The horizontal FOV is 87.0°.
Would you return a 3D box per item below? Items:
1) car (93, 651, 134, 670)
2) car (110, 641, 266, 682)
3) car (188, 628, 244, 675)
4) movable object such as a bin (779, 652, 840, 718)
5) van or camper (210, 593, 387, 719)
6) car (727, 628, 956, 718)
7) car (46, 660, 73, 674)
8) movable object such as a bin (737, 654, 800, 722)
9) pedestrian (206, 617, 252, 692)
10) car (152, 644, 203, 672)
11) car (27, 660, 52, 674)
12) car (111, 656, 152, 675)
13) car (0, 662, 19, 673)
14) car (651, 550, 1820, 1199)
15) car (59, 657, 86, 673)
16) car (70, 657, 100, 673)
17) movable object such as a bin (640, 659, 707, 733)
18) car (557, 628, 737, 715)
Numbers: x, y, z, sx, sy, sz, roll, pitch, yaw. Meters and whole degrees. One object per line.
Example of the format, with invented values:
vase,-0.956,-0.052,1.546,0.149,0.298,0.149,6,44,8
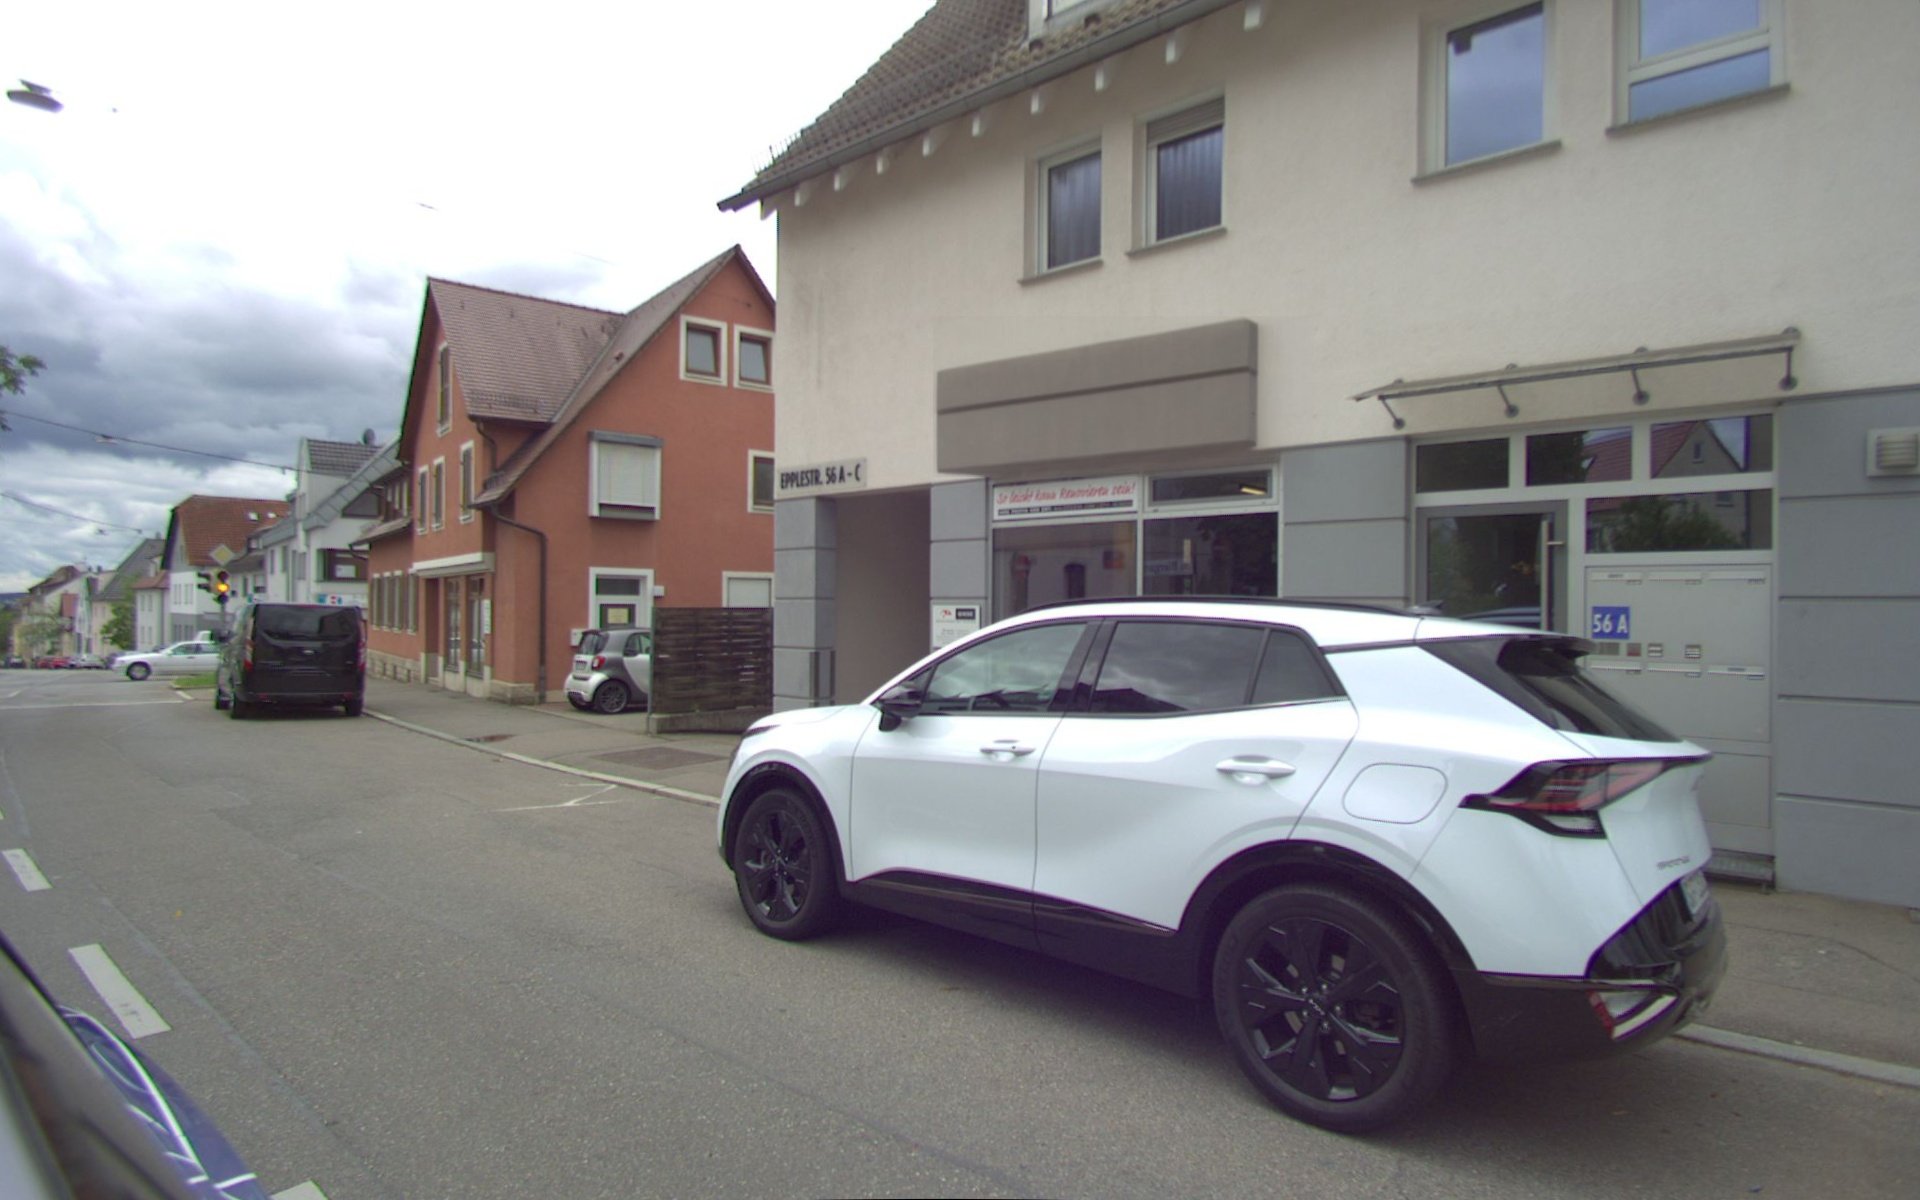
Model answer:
car,-67.595,4.813,80.768,3.997,1.456,1.818,-3,-5,40
car,-28.801,2.297,37.964,4.492,1.456,2.005,2,-4,-35
car,-33.806,2.384,45.926,1.789,2.021,4.772,3,-5,-38
movable object such as a bin,-2.478,1.381,16.636,0.658,1.026,0.796,2,-4,-44
van or camper,-12.354,1.029,18.740,2.048,2.021,4.864,3,-4,-41
car,-2.144,1.276,18.887,3.935,1.486,1.746,1,-2,-39
car,-95.087,7.034,106.805,3.735,1.421,1.683,-3,-6,42
movable object such as a bin,-3.050,1.381,16.081,0.658,1.026,0.796,2,-4,-44
pedestrian,-18.091,1.329,25.053,0.878,1.798,0.804,0,-2,-39
car,-48.837,3.620,63.115,4.408,1.645,1.817,-4,-5,43
car,-103.799,7.572,114.149,3.735,1.544,1.683,-3,-6,42
car,-62.939,4.984,76.878,4.467,1.456,1.817,-4,-5,43
car,-131.162,9.337,139.594,3.735,1.544,1.683,-3,-6,42
car,0.760,0.763,4.696,4.856,1.645,1.976,-2,-1,42
car,-83.986,6.175,95.753,1.630,1.458,3.776,3,-4,-45
car,-80.061,5.968,92.627,3.811,1.458,1.631,-3,-4,43
movable object such as a bin,-4.217,1.394,14.910,0.658,1.026,0.796,2,-4,-44
car,-5.856,1.269,18.998,2.793,1.486,1.746,1,-2,-38
